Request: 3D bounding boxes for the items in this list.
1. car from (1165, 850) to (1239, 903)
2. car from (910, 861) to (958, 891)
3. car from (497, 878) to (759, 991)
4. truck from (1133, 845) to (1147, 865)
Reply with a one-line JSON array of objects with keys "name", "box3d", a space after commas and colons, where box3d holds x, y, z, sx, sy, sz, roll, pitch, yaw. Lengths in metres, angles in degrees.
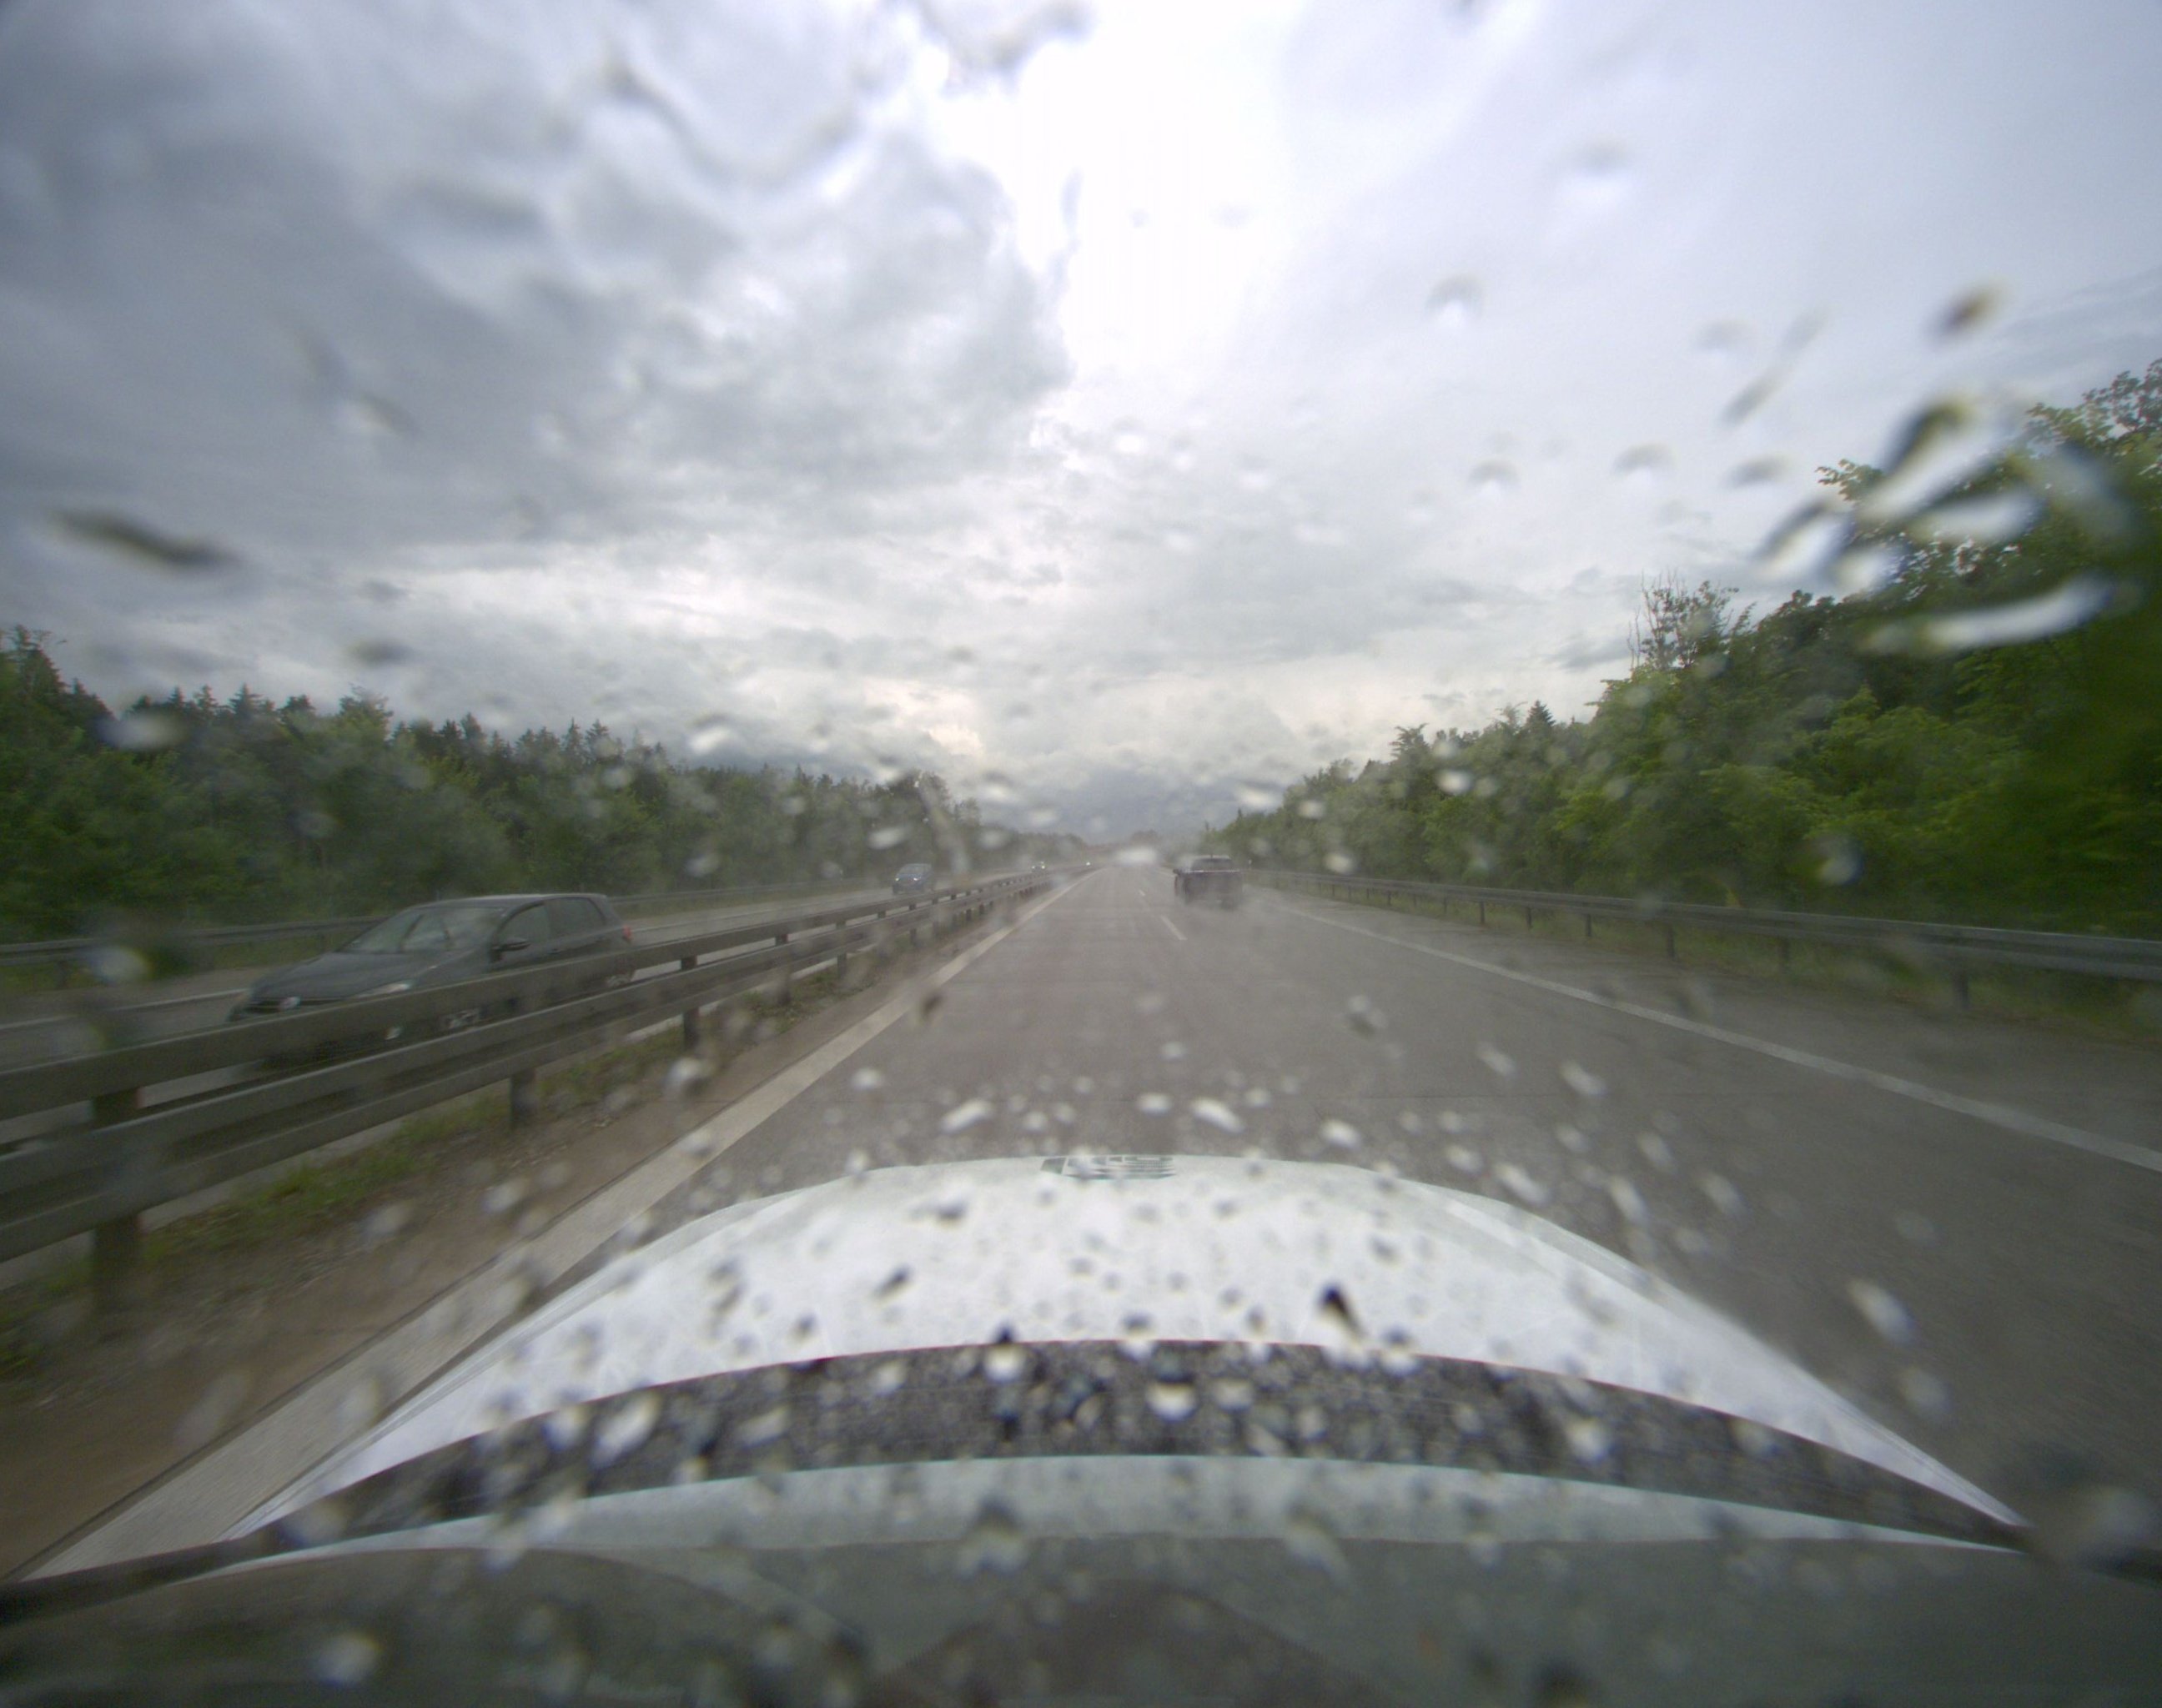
[{"name": "car", "box3d": [3.820, 0.702, 26.331, 1.888, 1.576, 3.631, -1, -1, 0]}, {"name": "car", "box3d": [-9.135, 1.308, 50.950, 1.987, 1.598, 4.791, -3, 0, 1]}, {"name": "car", "box3d": [-7.143, 1.182, 13.468, 1.895, 1.499, 4.221, -1, -1, 1]}, {"name": "truck", "box3d": [13.733, 0.280, 189.232, 3.228, 4.437, 8.256, -1, -1, 5]}]
